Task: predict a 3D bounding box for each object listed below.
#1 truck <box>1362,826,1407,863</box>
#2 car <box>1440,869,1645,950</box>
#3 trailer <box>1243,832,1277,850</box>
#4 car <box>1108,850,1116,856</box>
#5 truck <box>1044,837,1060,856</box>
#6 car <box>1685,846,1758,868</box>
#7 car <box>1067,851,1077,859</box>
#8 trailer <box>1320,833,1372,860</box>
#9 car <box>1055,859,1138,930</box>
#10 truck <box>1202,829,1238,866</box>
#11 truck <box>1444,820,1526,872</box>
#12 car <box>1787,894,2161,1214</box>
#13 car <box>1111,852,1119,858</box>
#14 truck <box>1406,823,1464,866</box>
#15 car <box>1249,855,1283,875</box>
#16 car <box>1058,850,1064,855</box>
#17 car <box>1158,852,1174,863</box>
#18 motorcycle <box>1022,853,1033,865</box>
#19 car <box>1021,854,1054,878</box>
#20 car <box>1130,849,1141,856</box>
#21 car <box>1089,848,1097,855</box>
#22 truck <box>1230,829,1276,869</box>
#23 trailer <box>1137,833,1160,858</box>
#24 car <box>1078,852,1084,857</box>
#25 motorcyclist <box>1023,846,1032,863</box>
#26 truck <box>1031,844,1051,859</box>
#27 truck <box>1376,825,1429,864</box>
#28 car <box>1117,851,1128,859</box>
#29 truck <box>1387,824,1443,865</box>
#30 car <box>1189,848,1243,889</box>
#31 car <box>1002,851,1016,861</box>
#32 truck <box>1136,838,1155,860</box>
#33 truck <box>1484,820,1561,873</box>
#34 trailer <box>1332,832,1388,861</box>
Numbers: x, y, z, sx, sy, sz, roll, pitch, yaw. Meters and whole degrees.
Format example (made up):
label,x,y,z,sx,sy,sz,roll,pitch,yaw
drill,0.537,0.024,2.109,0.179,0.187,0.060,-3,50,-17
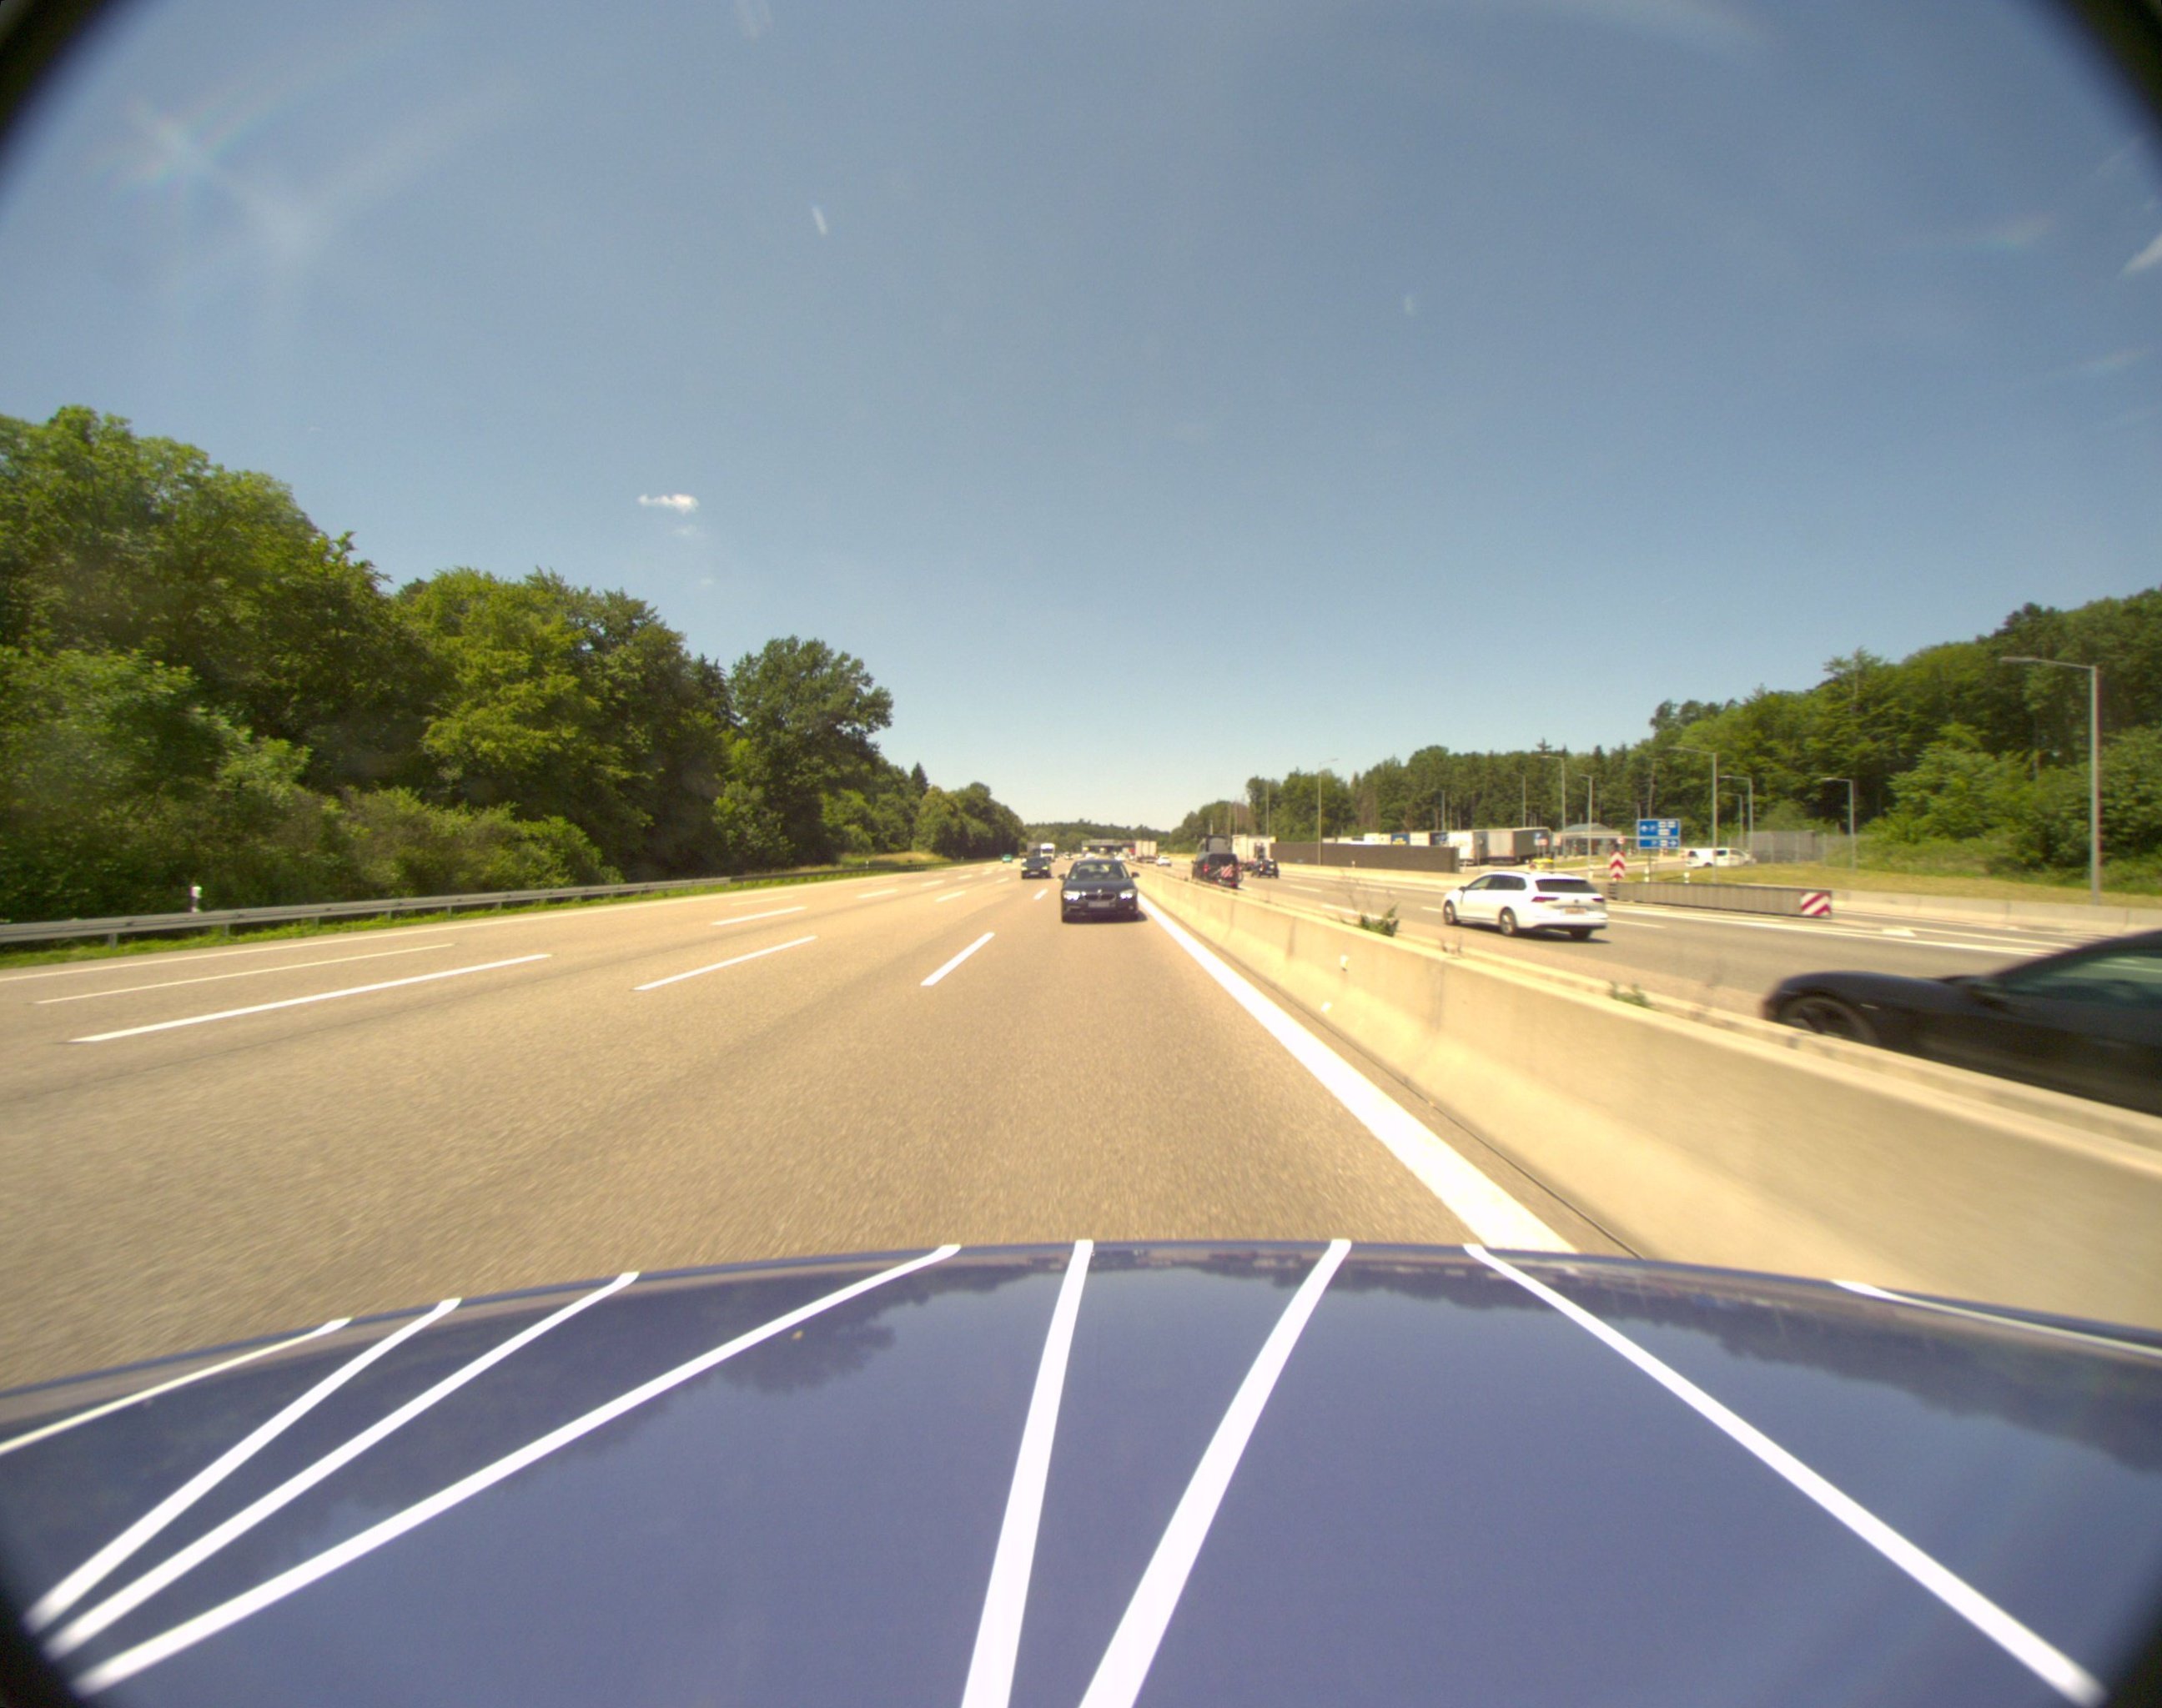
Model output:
label,x,y,z,sx,sy,sz,roll,pitch,yaw
truck,47.157,-1.429,118.000,8.506,5.580,3.219,0,1,-44
car,10.179,1.139,17.299,1.765,1.455,4.839,0,0,1
trailer,33.057,-2.408,141.141,2.979,3.106,14.608,0,1,1
car,9.549,-0.378,234.281,1.999,1.653,5.753,1,1,0
truck,-5.216,-1.307,136.595,2.428,3.237,8.688,1,1,0
car,59.501,0.295,70.647,4.733,2.002,2.088,0,1,15
car,-2.035,0.193,169.875,1.998,1.671,4.127,1,1,3
trailer,51.170,-1.383,146.418,14.597,5.043,3.120,0,1,-44
car,0.405,0.888,18.667,1.741,1.450,4.543,-2,0,2
truck,14.917,-0.694,82.015,2.584,3.819,7.017,1,0,1
truck,47.784,-0.900,89.457,16.746,5.580,3.441,0,1,-44
car,6.330,1.070,3.487,1.917,1.456,4.587,0,1,1
car,9.139,0.277,203.209,1.875,1.538,4.591,0,1,-1
truck,49.331,-1.293,105.642,11.562,5.580,3.358,0,1,-44
car,14.715,0.877,60.518,1.757,1.478,3.814,2,0,0
car,-6.477,-0.432,242.835,1.747,1.529,4.127,1,1,1
car,11.708,0.431,105.046,1.727,1.498,4.460,0,0,-1
motorcycle,-6.045,0.554,86.168,0.925,1.311,2.998,0,0,1
car,-2.791,0.746,49.835,1.834,1.454,4.204,1,1,1
car,12.546,-0.314,175.469,1.999,1.478,5.018,2,0,-1
car,3.353,-0.729,211.062,1.998,1.935,4.128,0,0,3
truck,19.052,-0.555,84.940,2.842,4.173,10.595,0,0,1
trailer,12.168,-1.493,138.073,3.030,4.201,14.466,1,0,1
car,0.079,0.104,251.350,1.911,1.450,4.125,1,1,-2
motorcyclist,-6.041,0.009,86.030,0.914,1.926,0.905,0,1,1
truck,-7.773,-0.478,149.049,2.660,2.839,10.886,1,1,3
truck,48.599,-1.387,114.624,11.562,5.580,3.219,0,1,-44
car,7.906,0.167,144.943,1.752,1.449,4.156,0,0,-1
truck,48.081,-1.341,109.124,11.562,5.580,3.219,0,1,-44
car,7.004,0.689,40.056,1.903,1.942,5.656,1,0,1
car,-12.751,0.354,134.932,1.998,1.671,4.127,1,1,3
truck,12.252,-0.936,145.332,3.055,4.113,6.948,2,1,1
truck,51.201,-0.844,87.756,16.746,5.580,3.214,0,1,-44
trailer,49.758,-1.287,135.109,14.597,5.043,3.214,0,1,-44
